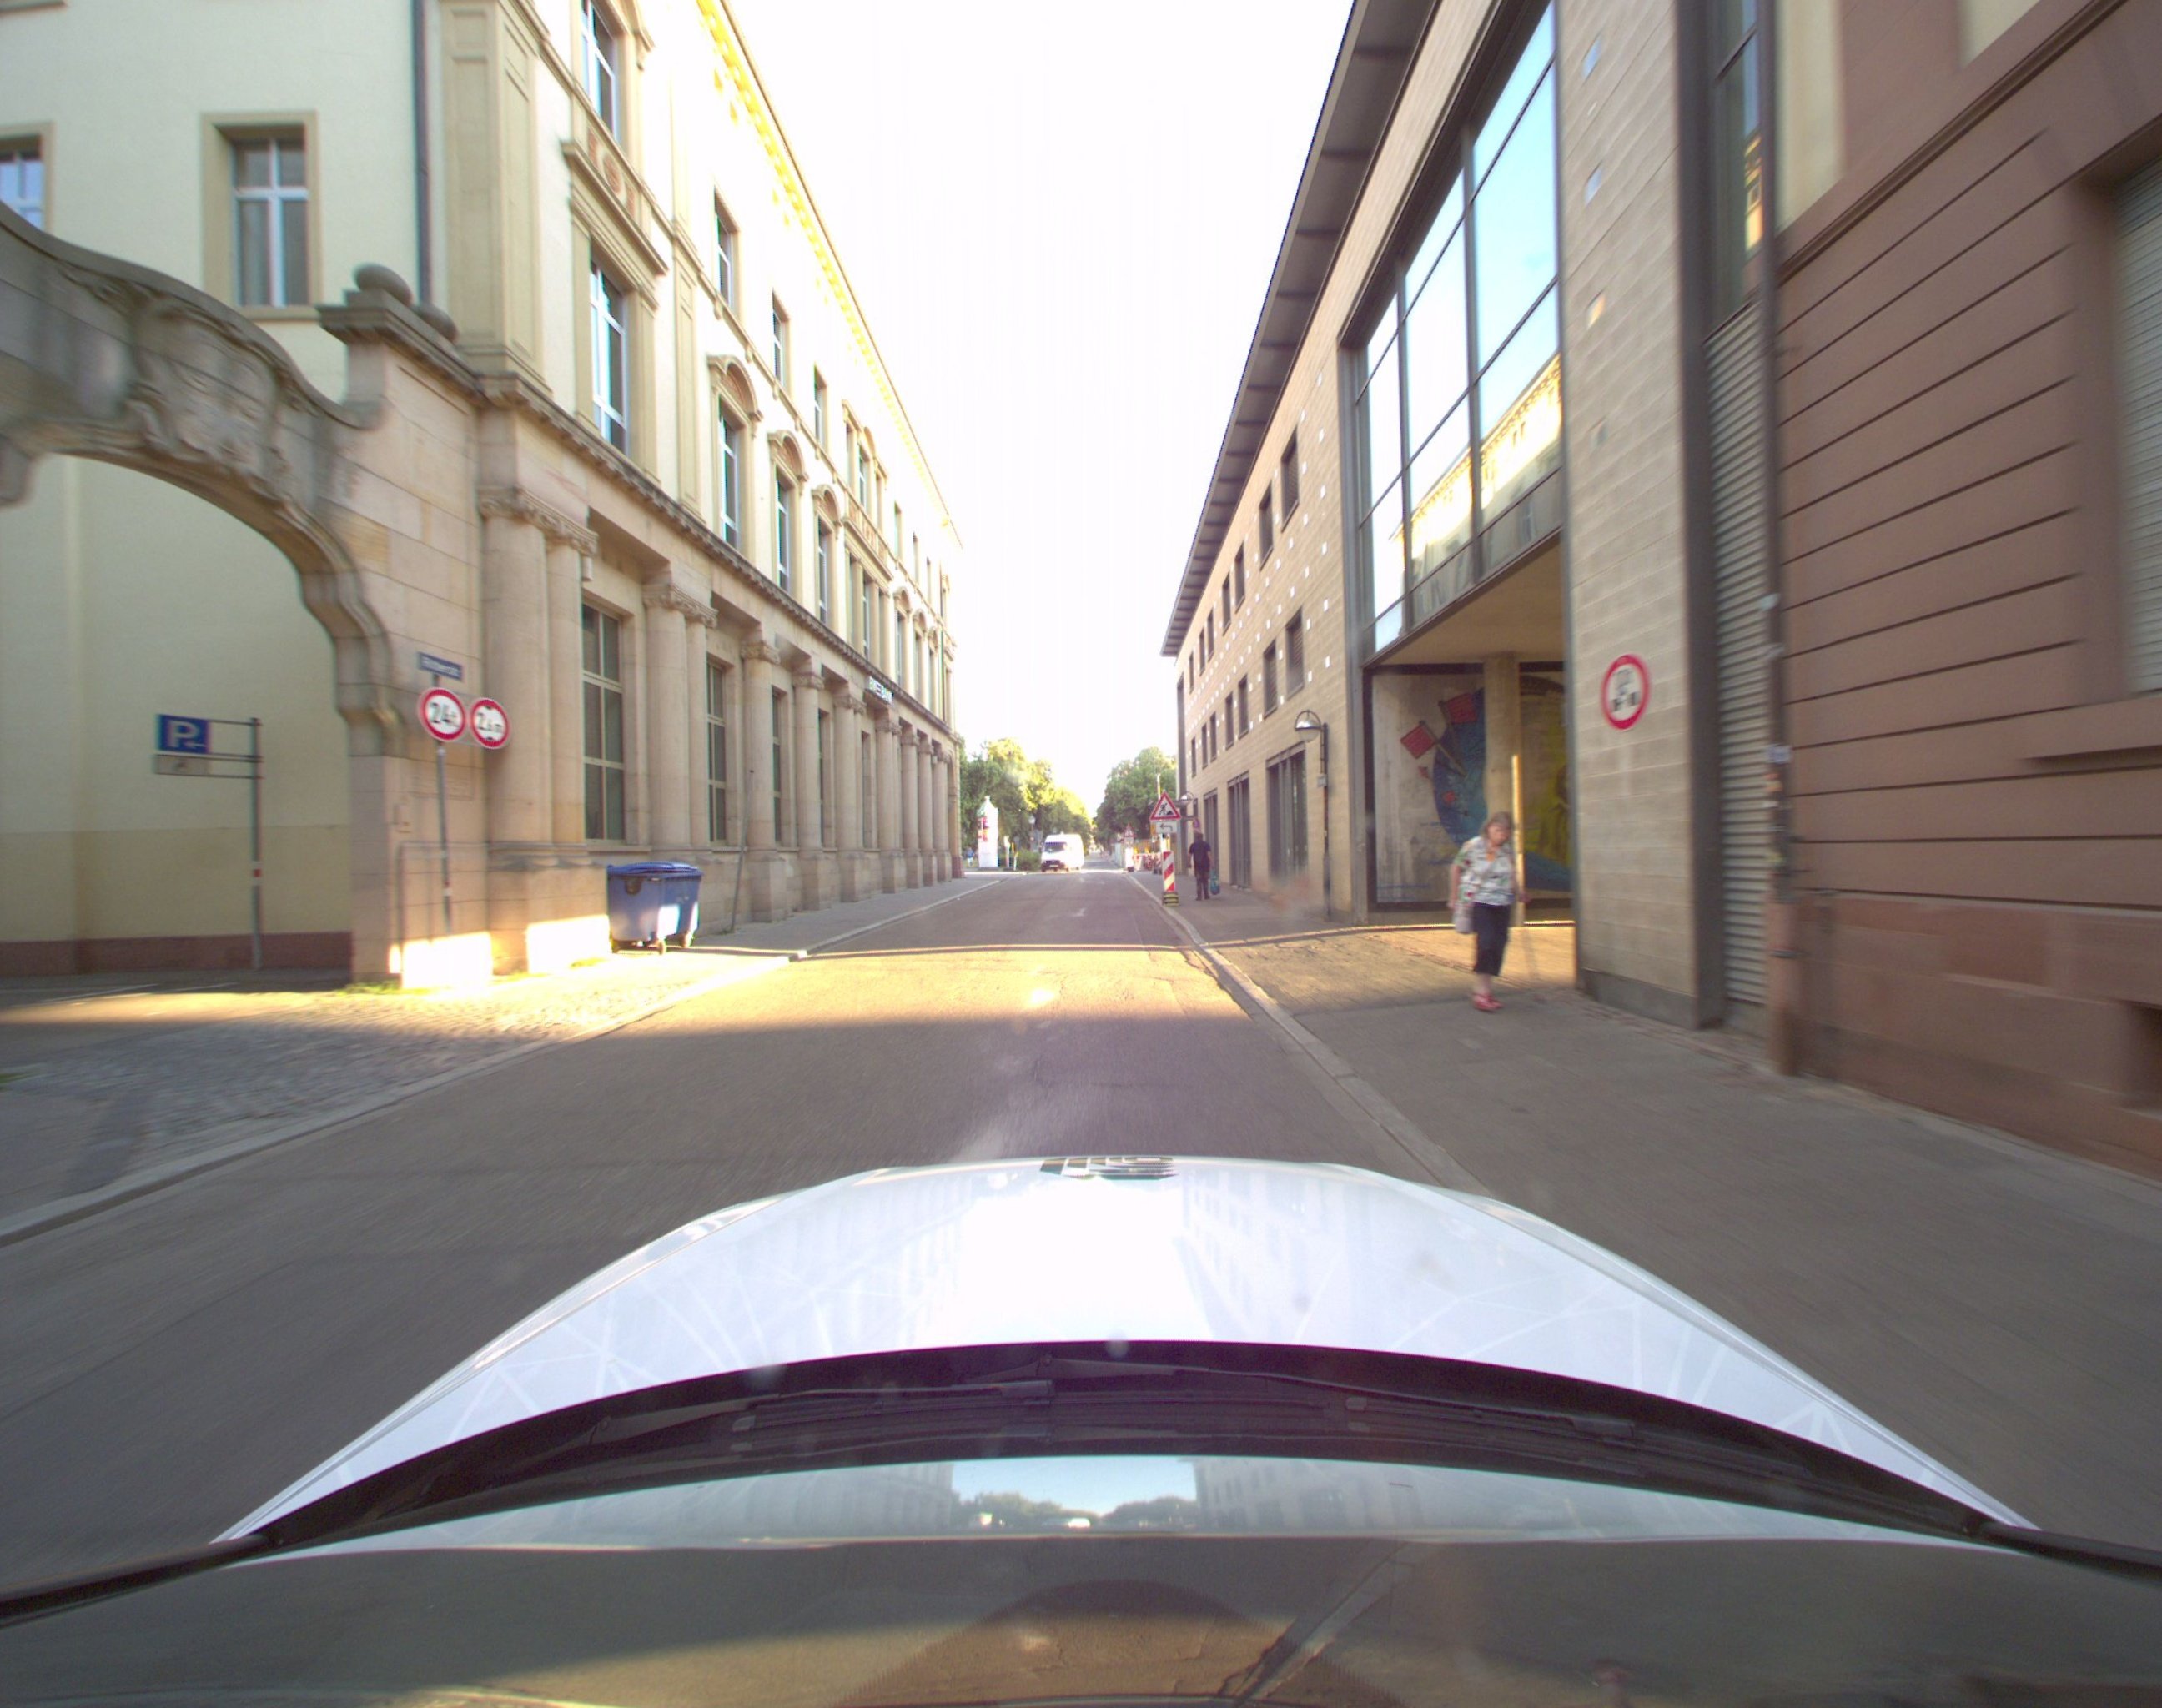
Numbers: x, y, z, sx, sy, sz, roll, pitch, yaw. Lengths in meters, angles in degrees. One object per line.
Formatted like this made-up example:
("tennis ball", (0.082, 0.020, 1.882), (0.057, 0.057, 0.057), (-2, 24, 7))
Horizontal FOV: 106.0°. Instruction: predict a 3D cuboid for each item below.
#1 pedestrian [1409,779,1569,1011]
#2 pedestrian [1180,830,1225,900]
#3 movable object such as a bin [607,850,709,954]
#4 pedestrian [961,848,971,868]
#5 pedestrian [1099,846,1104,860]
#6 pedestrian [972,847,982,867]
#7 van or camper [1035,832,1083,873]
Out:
("pedestrian", (3.439, 0.332, 6.961), (0.841, 1.803, 0.898), (-4, 0, 6))
("pedestrian", (3.259, 0.288, 21.884), (0.997, 1.803, 0.881), (-3, -1, 0))
("movable object such as a bin", (-6.465, 0.703, 12.522), (0.826, 1.503, 1.292), (-1, 0, 2))
("pedestrian", (-10.327, 0.369, 73.061), (0.850, 1.807, 0.661), (-1, 0, -12))
("pedestrian", (3.055, -0.132, 120.433), (0.580, 2.013, 0.680), (-1, 0, -7))
("pedestrian", (-9.396, 0.242, 73.324), (0.850, 1.807, 0.661), (-1, 0, -12))
("van or camper", (-1.426, -0.137, 55.981), (2.207, 2.584, 6.386), (-1, 0, 8))
